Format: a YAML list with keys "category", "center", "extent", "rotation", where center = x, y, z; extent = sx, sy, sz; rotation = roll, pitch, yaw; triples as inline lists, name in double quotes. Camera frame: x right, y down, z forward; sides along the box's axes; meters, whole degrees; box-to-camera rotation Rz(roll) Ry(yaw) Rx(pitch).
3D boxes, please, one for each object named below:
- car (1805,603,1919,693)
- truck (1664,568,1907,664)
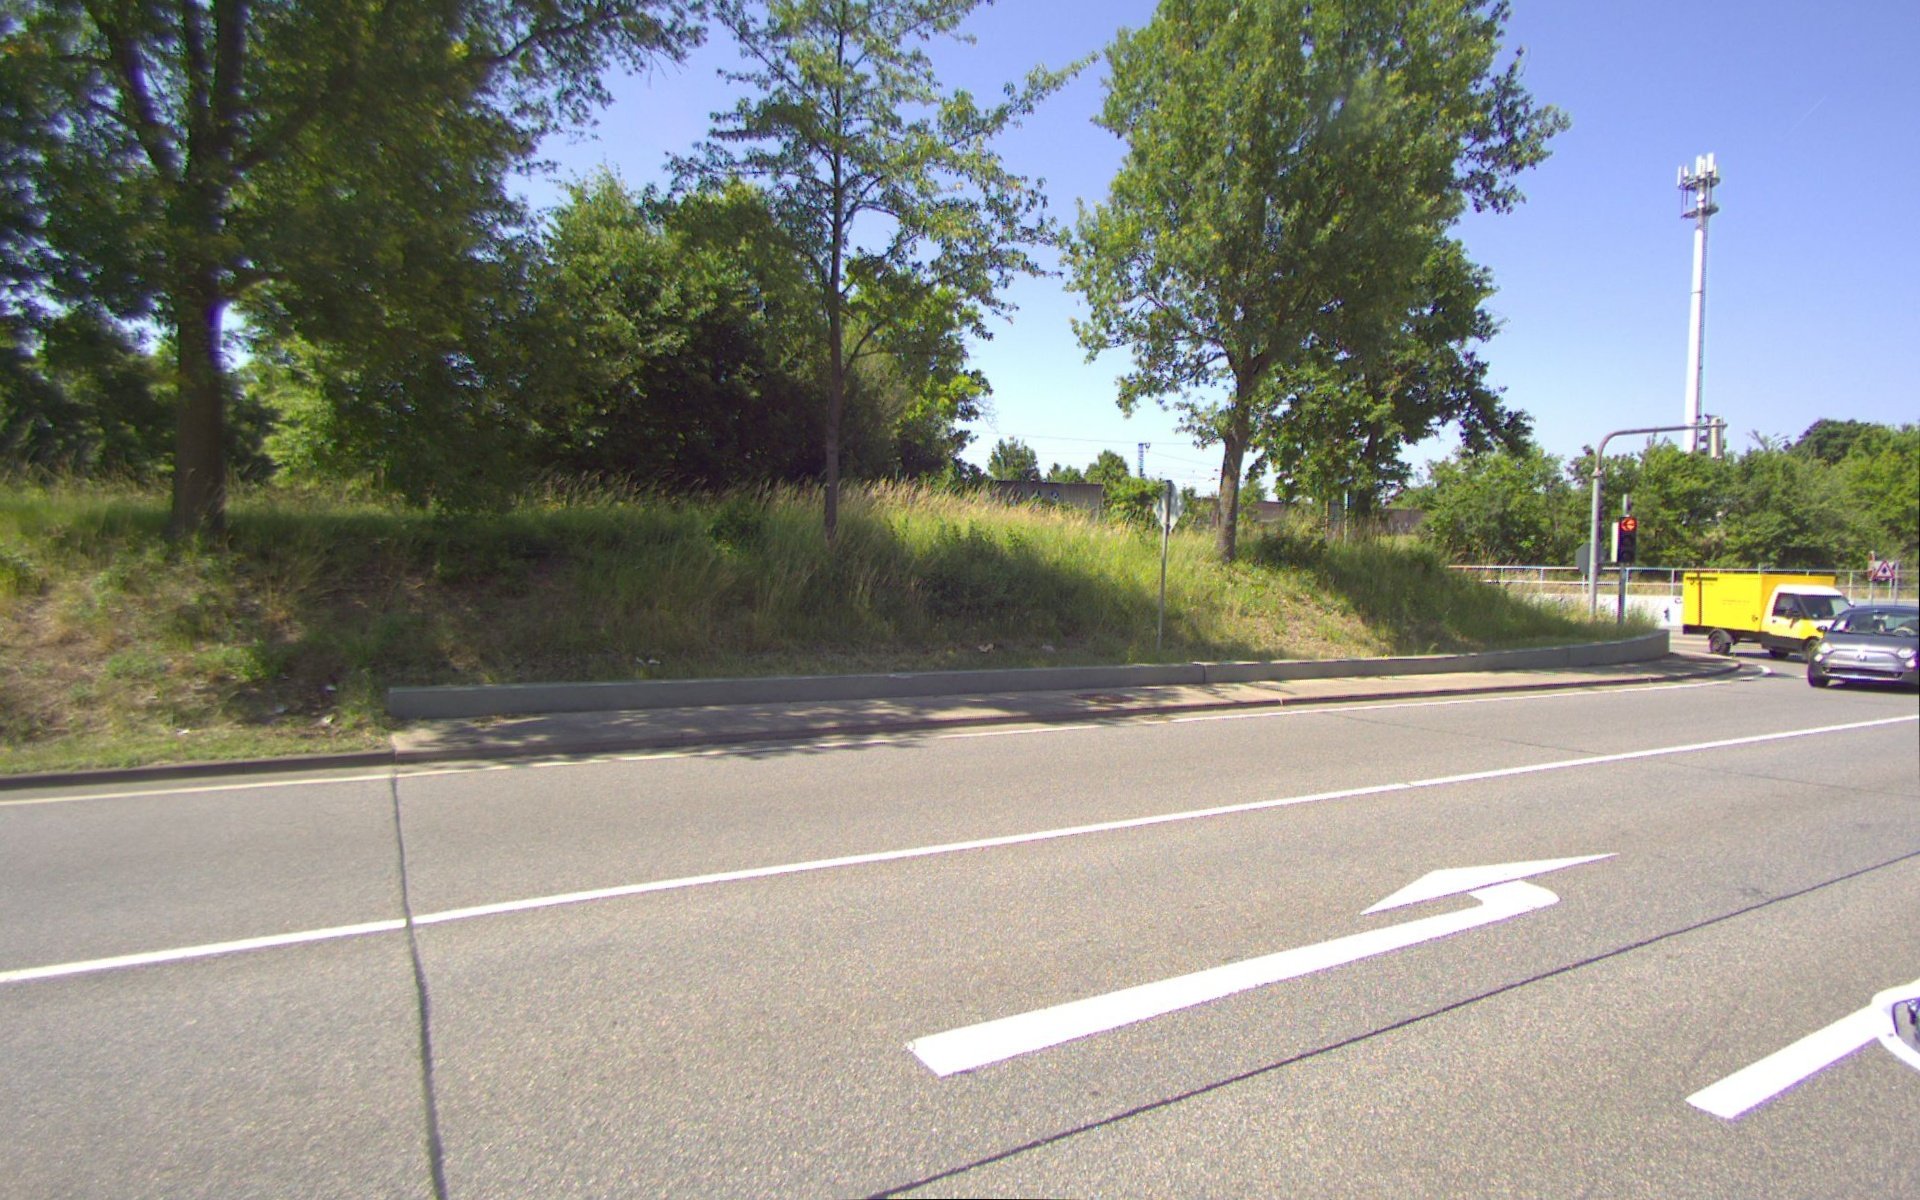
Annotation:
- category: "car"
  center: [17.172, 0.819, 18.716]
  extent: [3.570, 1.489, 1.574]
  rotation: [0, 1, -40]
- category: "truck"
  center: [22.083, 0.366, 27.327]
  extent: [1.944, 2.305, 6.026]
  rotation: [0, 1, 4]
